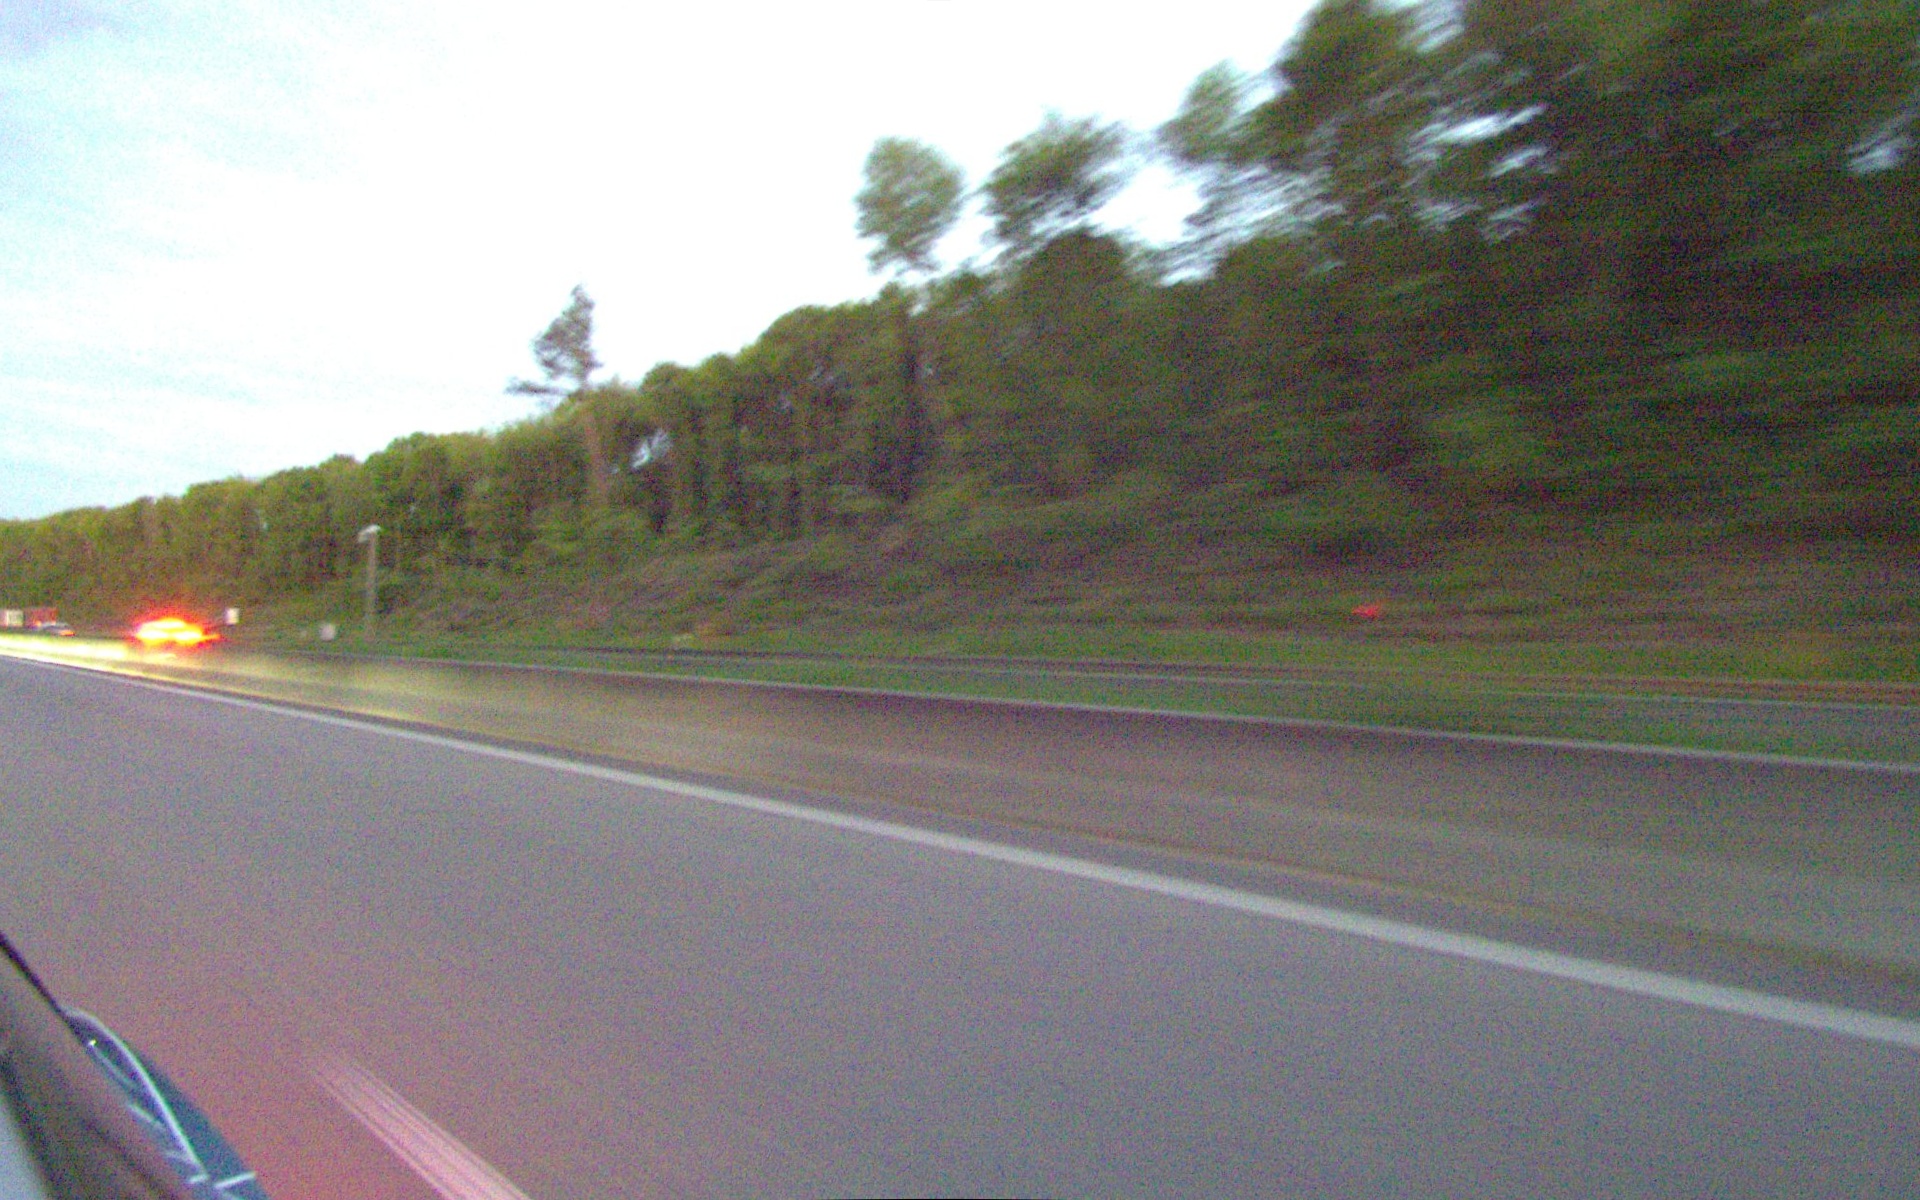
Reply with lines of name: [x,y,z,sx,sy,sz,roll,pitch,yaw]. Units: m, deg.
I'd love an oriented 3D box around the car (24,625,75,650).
car: [-60.868,2.475,67.633,5.157,1.625,1.897,-1,-2,41]

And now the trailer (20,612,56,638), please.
trailer: [-153.358,4.135,168.243,14.181,4.136,3.157,-1,0,42]

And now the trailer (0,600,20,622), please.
trailer: [-184.292,2.063,195.223,13.736,4.136,3.157,-1,0,42]

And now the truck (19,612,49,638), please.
truck: [-157.956,4.223,172.644,7.688,4.136,3.157,-1,0,42]

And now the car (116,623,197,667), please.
car: [-37.319,2.039,46.955,5.107,1.946,1.911,-1,-2,39]
